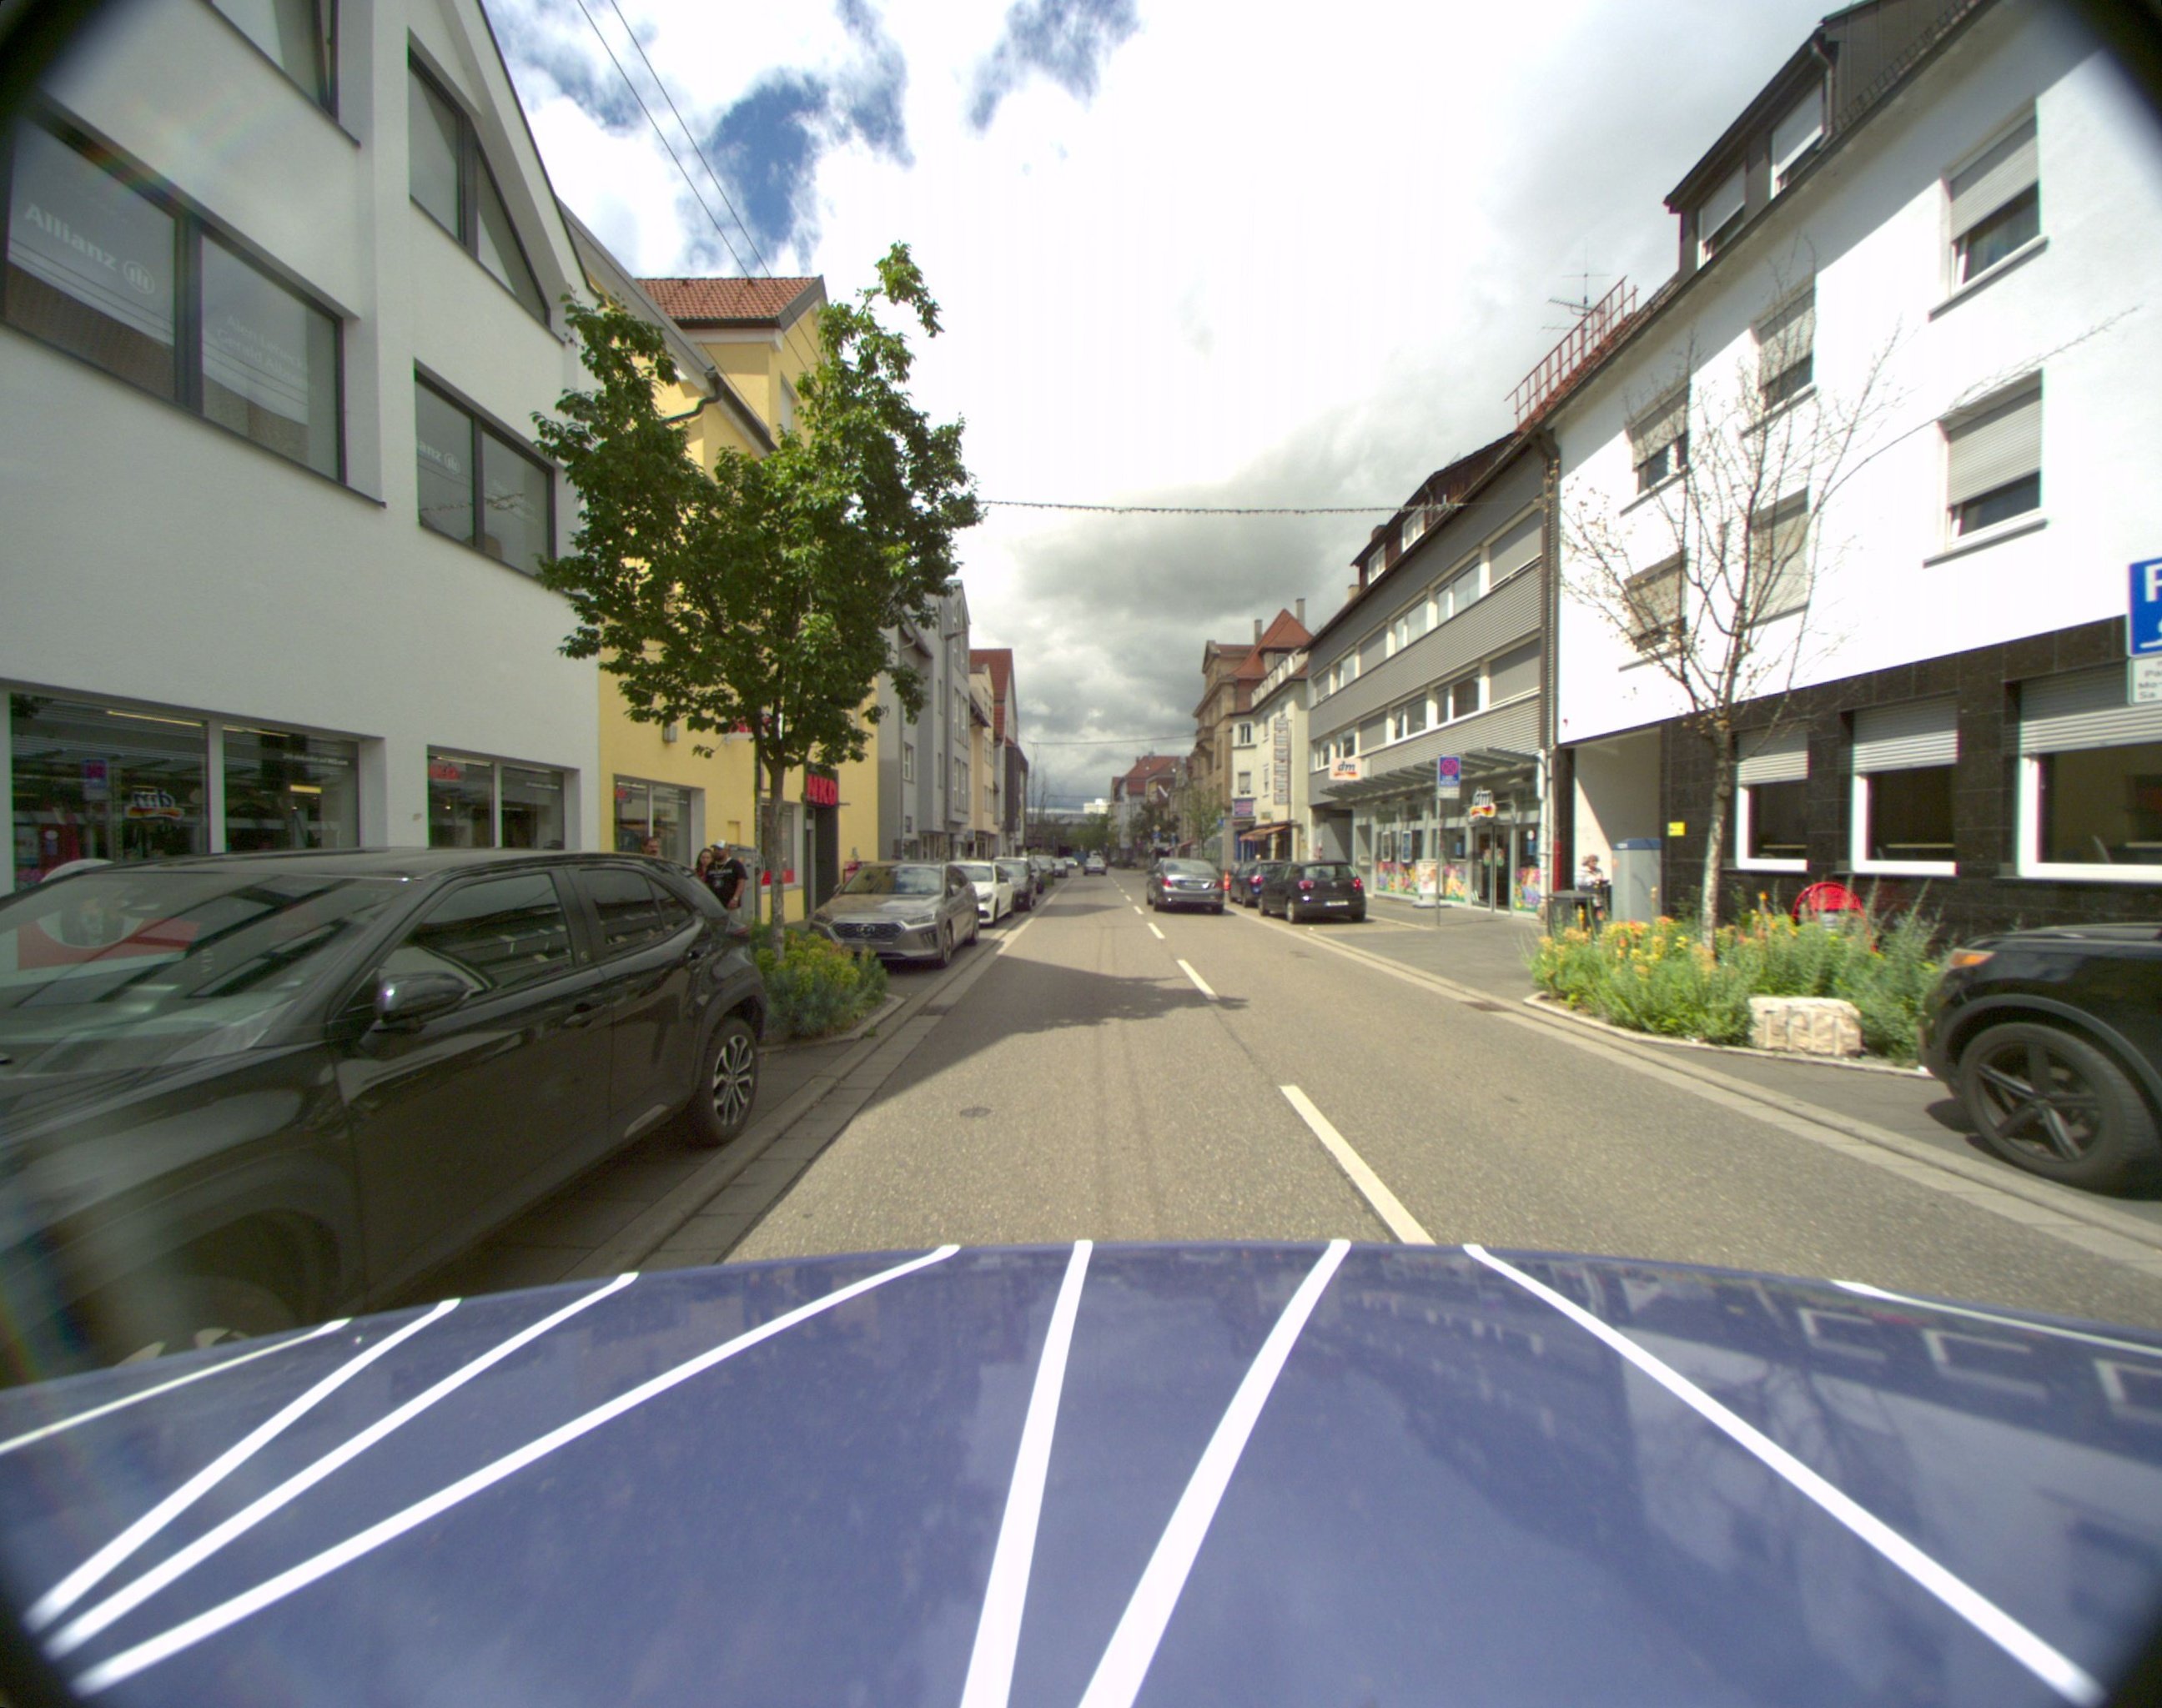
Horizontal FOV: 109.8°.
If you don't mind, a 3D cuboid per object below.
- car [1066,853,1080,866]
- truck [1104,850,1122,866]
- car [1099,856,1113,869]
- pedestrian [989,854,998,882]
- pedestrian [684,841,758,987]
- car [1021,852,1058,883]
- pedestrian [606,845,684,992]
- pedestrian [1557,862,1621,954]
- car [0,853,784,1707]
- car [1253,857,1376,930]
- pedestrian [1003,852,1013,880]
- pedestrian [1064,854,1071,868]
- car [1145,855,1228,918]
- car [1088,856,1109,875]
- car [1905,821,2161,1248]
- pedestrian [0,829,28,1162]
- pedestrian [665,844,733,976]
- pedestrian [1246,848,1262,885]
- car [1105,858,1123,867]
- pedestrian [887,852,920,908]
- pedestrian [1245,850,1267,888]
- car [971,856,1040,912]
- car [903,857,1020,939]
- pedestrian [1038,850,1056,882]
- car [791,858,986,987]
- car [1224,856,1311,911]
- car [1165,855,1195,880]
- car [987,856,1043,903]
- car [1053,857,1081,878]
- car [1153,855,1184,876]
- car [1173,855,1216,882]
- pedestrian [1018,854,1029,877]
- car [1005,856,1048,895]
[{"bbox_3d":[-1.099,0.738,101.576,1.804,1.594,4.203,1,0,-1],"label":"car"},{"bbox_3d":[4.978,0.579,119.967,2.112,2.292,6.472,-2,1,-4],"label":"truck"},{"bbox_3d":[3.044,1.031,93.041,1.536,1.521,3.758,-2,1,0],"label":"car"},{"bbox_3d":[-5.368,0.833,46.800,0.437,1.708,0.537,-2,1,-2],"label":"pedestrian"},{"bbox_3d":[-4.657,0.751,9.858,0.589,1.830,0.576,-2,1,2],"label":"pedestrian"},{"bbox_3d":[-2.269,0.733,42.585,1.804,1.594,4.203,1,0,-1],"label":"car"},{"bbox_3d":[-5.634,0.814,9.854,0.589,1.830,0.576,-2,1,2],"label":"pedestrian"},{"bbox_3d":[8.330,0.871,12.468,0.655,1.446,0.563,-2,1,2],"label":"pedestrian"},{"bbox_3d":[-2.696,0.833,2.526,1.725,1.568,4.108,-2,1,0],"label":"car"},{"bbox_3d":[5.682,0.892,19.033,1.794,1.495,4.177,-2,1,0],"label":"car"},{"bbox_3d":[-4.495,0.756,46.835,0.537,1.708,0.606,-2,1,0],"label":"pedestrian"},{"bbox_3d":[-1.595,0.802,88.457,0.584,1.591,0.549,-1,2,18],"label":"pedestrian"},{"bbox_3d":[2.945,0.849,22.150,1.910,1.554,4.645,0,1,1],"label":"car"},{"bbox_3d":[1.488,0.984,64.601,1.724,1.517,3.598,0,0,1],"label":"car"},{"bbox_3d":[5.258,0.750,1.771,1.820,1.745,4.669,-2,1,4],"label":"car"},{"bbox_3d":[-5.976,0.733,3.657,0.743,1.727,0.757,1,1,2],"label":"pedestrian"},{"bbox_3d":[-5.440,0.775,10.841,0.589,1.830,0.576,-2,1,2],"label":"pedestrian"},{"bbox_3d":[8.210,0.582,36.116,0.549,1.747,0.728,-2,1,-2],"label":"pedestrian"},{"bbox_3d":[4.686,1.260,109.234,1.723,1.296,4.463,0,-1,-8],"label":"car"},{"bbox_3d":[-5.020,0.735,21.542,0.751,1.544,0.726,0,1,0],"label":"pedestrian"},{"bbox_3d":[7.501,0.634,32.519,0.733,1.609,0.651,-2,1,-4],"label":"pedestrian"},{"bbox_3d":[-2.159,0.848,22.873,1.693,1.463,4.524,-2,-1,-1],"label":"car"},{"bbox_3d":[-2.551,0.872,17.391,1.634,1.467,4.957,-2,1,2],"label":"car"},{"bbox_3d":[-2.020,0.722,45.338,0.978,1.853,0.864,1,1,0],"label":"pedestrian"},{"bbox_3d":[-2.656,0.862,11.578,1.725,1.467,4.353,-2,1,1],"label":"car"},{"bbox_3d":[5.979,0.891,24.911,1.794,1.504,4.712,-2,1,2],"label":"car"},{"bbox_3d":[6.306,0.823,48.658,1.589,1.406,3.668,-2,1,2],"label":"car"},{"bbox_3d":[-2.399,0.897,28.377,1.693,1.565,3.756,-2,0,0],"label":"car"},{"bbox_3d":[-1.020,0.972,56.584,1.711,1.412,4.318,-2,1,4],"label":"car"},{"bbox_3d":[6.778,0.870,59.280,1.850,1.390,4.035,-2,1,-2],"label":"car"},{"bbox_3d":[6.478,0.791,43.690,1.602,1.437,3.555,0,0,-6],"label":"car"},{"bbox_3d":[-4.343,0.831,57.320,0.745,1.708,0.655,0,1,0],"label":"pedestrian"},{"bbox_3d":[-2.299,0.889,33.040,1.694,1.432,4.294,2,1,-2],"label":"car"}]
